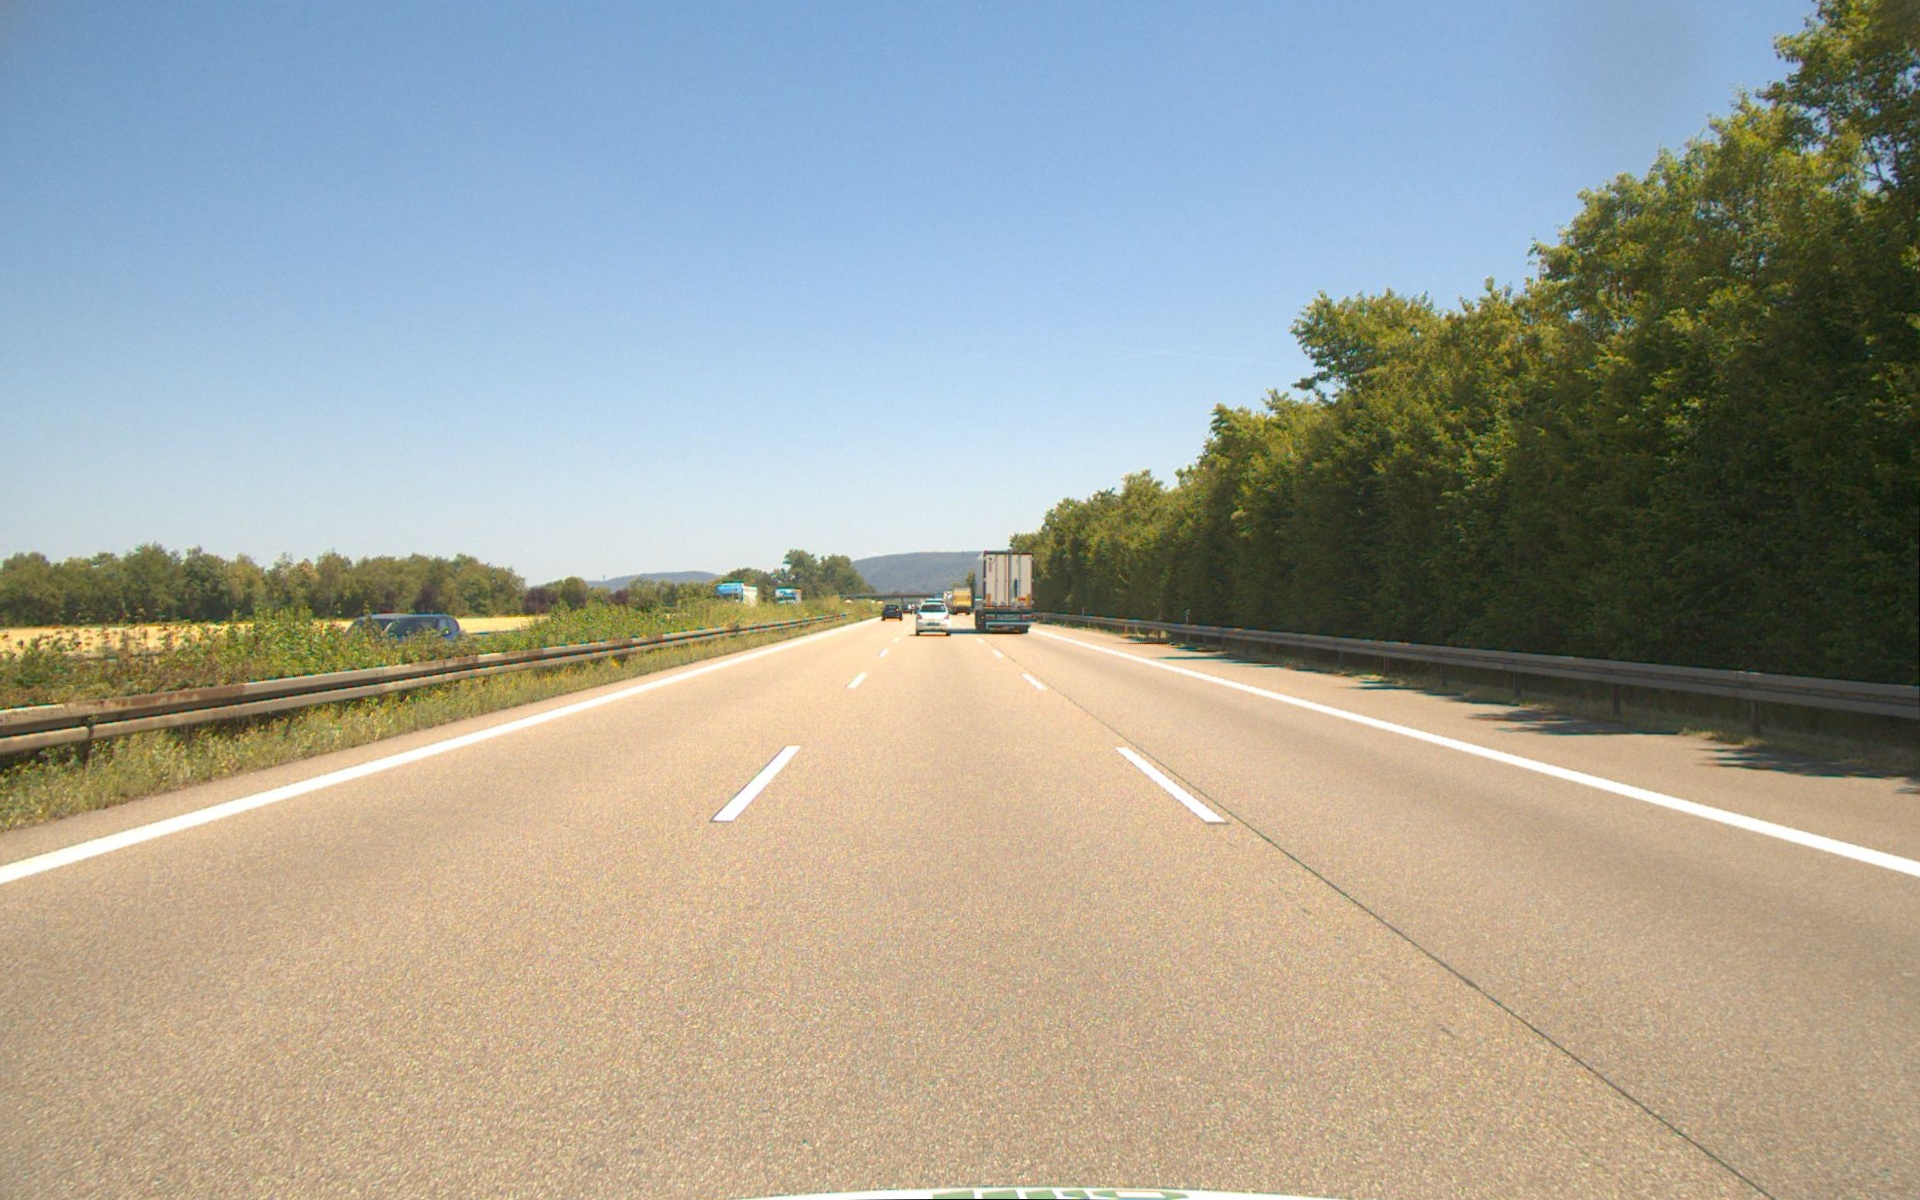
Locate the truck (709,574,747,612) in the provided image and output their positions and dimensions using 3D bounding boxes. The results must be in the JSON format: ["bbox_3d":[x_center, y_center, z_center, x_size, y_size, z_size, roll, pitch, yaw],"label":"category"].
[{"bbox_3d":[-23.304,-0.692,166.484,3.047,3.763,5.197,1,0,-1],"label":"truck"}]

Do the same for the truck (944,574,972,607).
[{"bbox_3d":[-0.343,-1.310,236.121,3.793,4.421,13.856,1,0,-1],"label":"truck"}]

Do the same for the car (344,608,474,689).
[{"bbox_3d":[-13.327,1.135,40.227,1.837,1.809,3.999,-1,0,-1],"label":"car"}]

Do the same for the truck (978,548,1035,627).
[{"bbox_3d":[2.656,-0.703,96.411,3.152,4.421,6.590,1,0,0],"label":"truck"}]

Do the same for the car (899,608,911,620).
[{"bbox_3d":[-7.864,2.008,237.056,1.759,1.578,3.999,0,0,-1],"label":"car"}]

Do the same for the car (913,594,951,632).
[{"bbox_3d":[-1.346,0.587,78.054,1.697,1.713,3.999,-1,0,-2],"label":"car"}]

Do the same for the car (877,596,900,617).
[{"bbox_3d":[-6.143,0.584,143.008,1.953,1.742,3.998,1,0,-2],"label":"car"}]

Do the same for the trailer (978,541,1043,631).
[{"bbox_3d":[2.570,-0.703,88.980,3.152,4.421,13.629,1,0,1],"label":"trailer"}]
